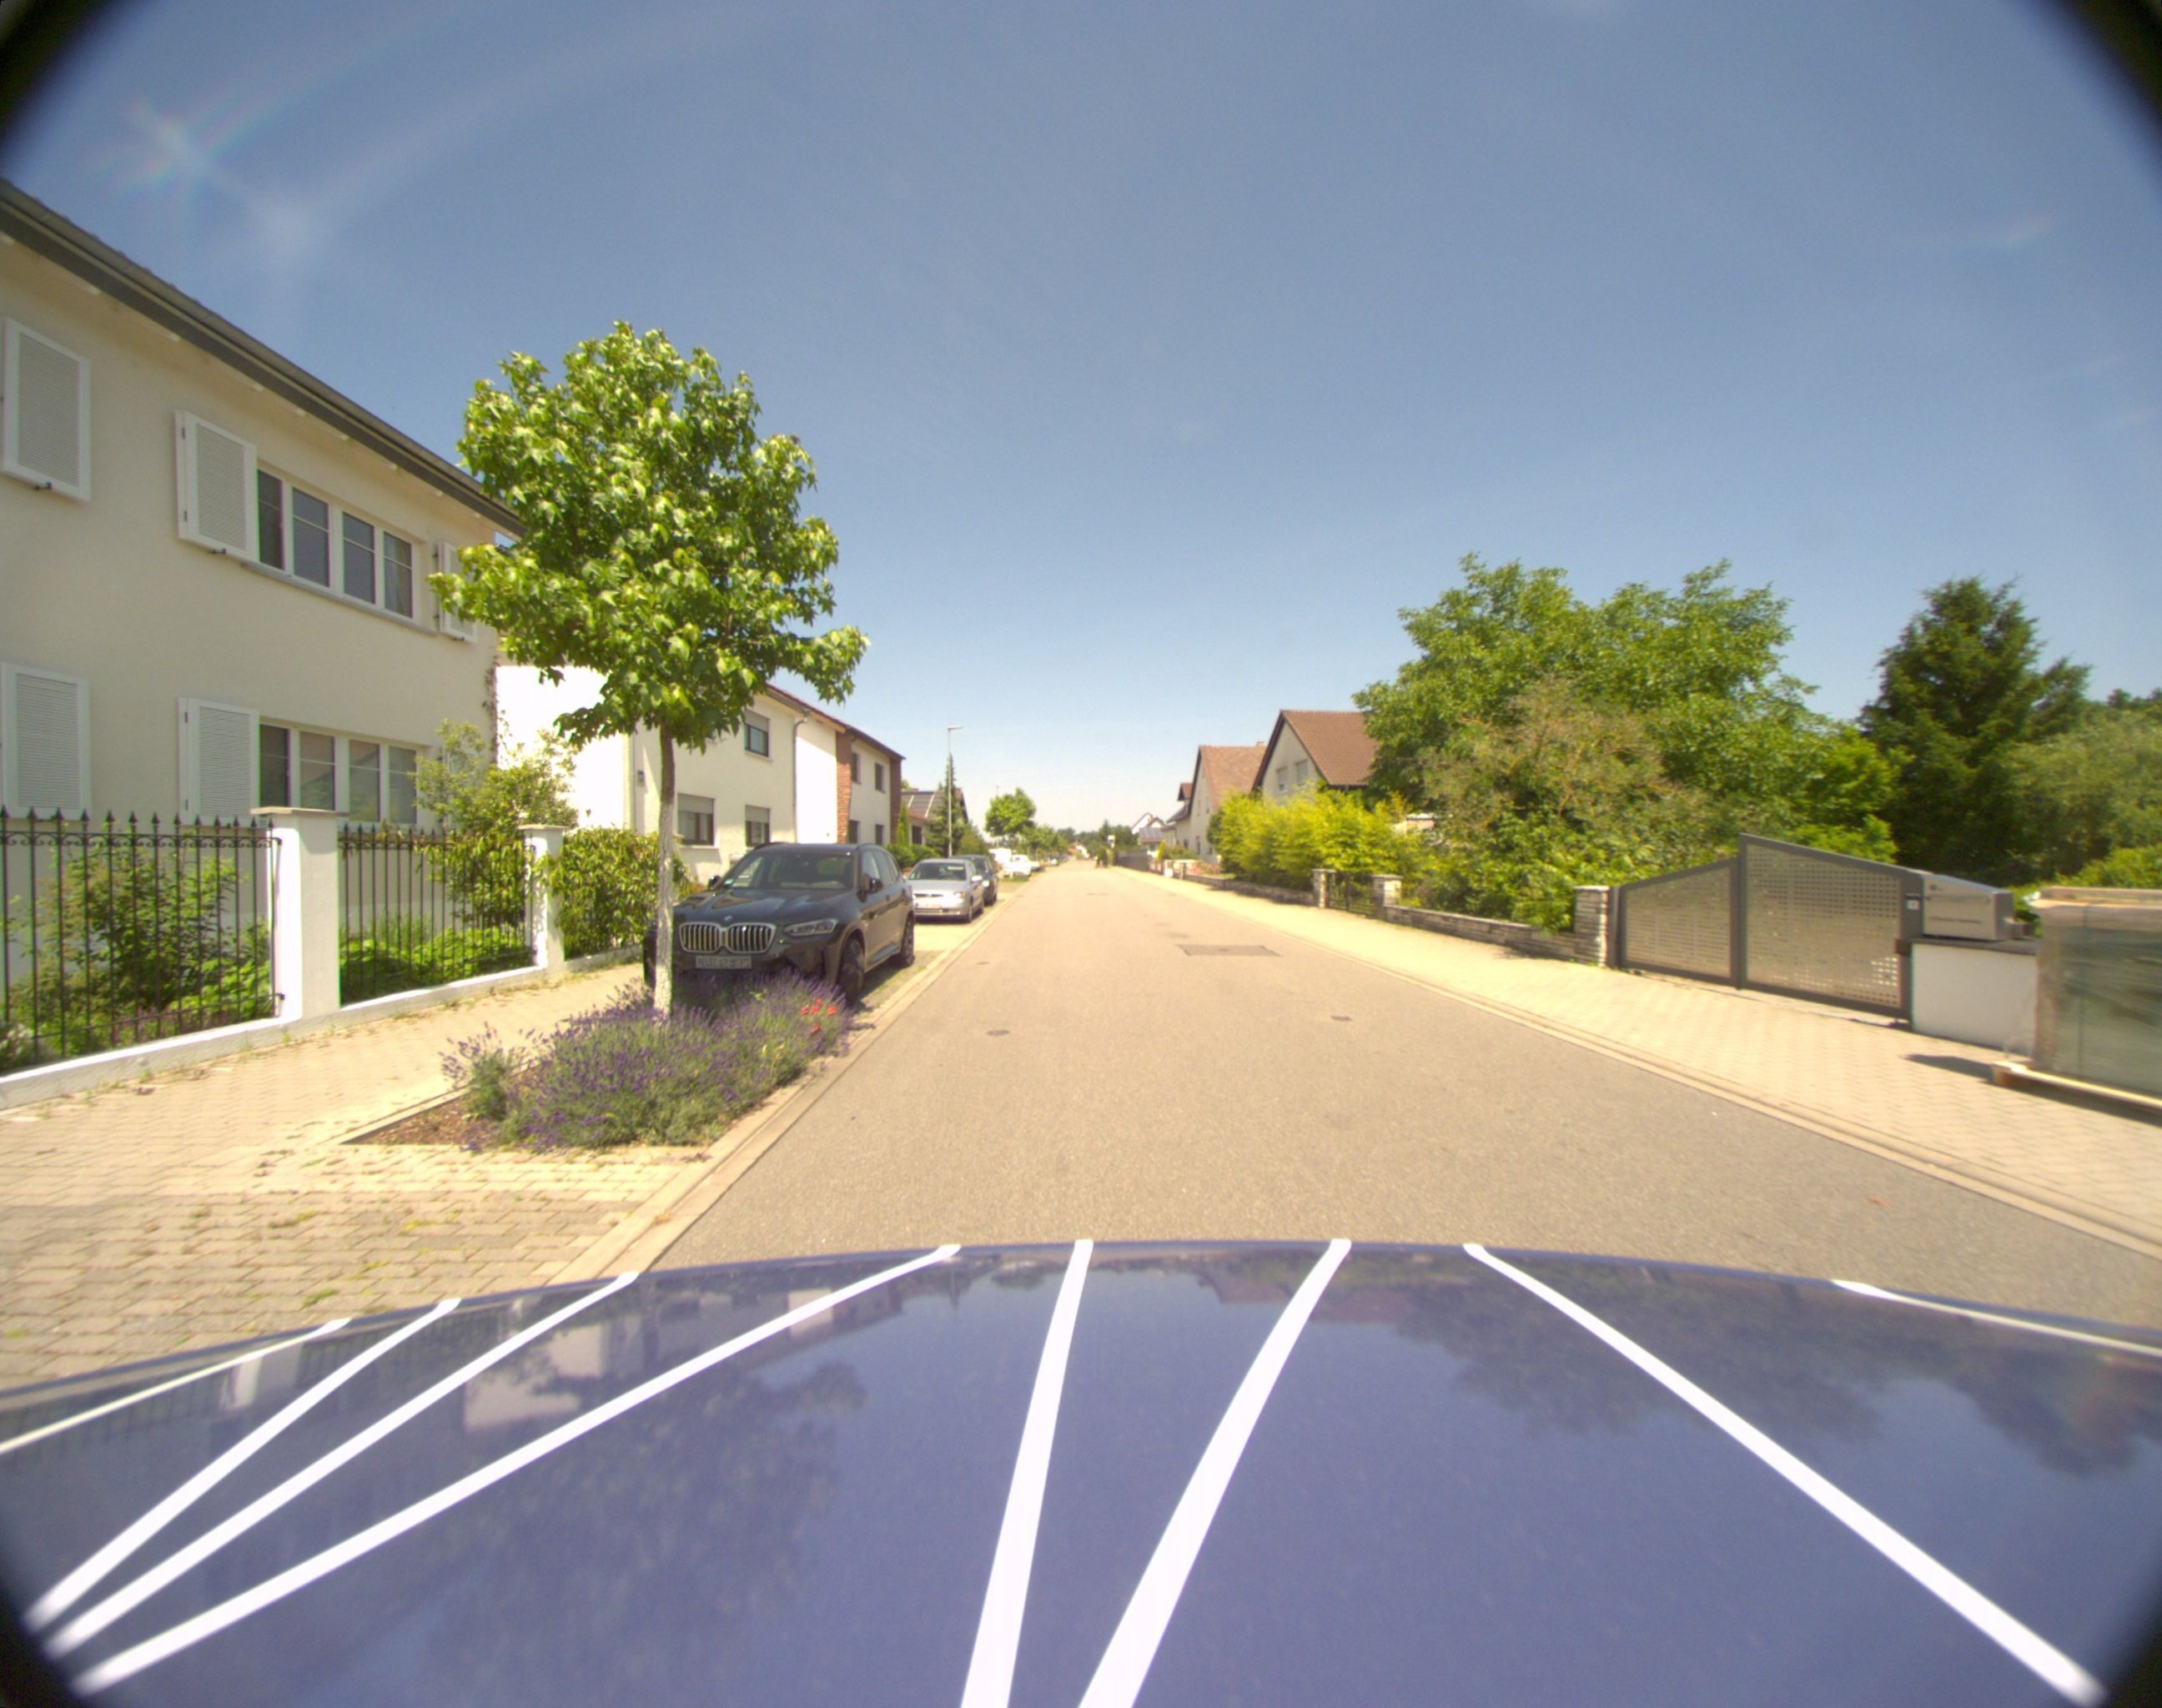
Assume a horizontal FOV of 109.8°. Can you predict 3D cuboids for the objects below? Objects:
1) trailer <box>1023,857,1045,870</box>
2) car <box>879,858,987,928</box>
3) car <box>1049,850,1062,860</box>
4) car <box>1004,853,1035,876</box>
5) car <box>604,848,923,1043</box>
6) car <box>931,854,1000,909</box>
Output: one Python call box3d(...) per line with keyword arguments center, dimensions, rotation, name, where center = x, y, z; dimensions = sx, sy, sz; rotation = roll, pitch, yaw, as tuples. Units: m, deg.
box3d(center=(-4.063, 0.846, 65.919), dimensions=(1.792, 1.052, 2.898), rotation=(-1, 0, 0), name="trailer")
box3d(center=(-3.356, 0.827, 18.012), dimensions=(1.819, 1.412, 4.092), rotation=(-1, 0, -1), name="car")
box3d(center=(-4.011, 0.151, 119.942), dimensions=(1.597, 1.630, 3.803), rotation=(-1, 1, 2), name="car")
box3d(center=(-4.081, 0.667, 50.864), dimensions=(1.819, 1.412, 3.867), rotation=(-1, 0, -2), name="car")
box3d(center=(-3.184, 0.790, 8.774), dimensions=(1.819, 1.646, 4.564), rotation=(-1, 0, -1), name="car")
box3d(center=(-3.505, 0.782, 23.745), dimensions=(1.746, 1.524, 4.447), rotation=(-1, 0, -4), name="car")
